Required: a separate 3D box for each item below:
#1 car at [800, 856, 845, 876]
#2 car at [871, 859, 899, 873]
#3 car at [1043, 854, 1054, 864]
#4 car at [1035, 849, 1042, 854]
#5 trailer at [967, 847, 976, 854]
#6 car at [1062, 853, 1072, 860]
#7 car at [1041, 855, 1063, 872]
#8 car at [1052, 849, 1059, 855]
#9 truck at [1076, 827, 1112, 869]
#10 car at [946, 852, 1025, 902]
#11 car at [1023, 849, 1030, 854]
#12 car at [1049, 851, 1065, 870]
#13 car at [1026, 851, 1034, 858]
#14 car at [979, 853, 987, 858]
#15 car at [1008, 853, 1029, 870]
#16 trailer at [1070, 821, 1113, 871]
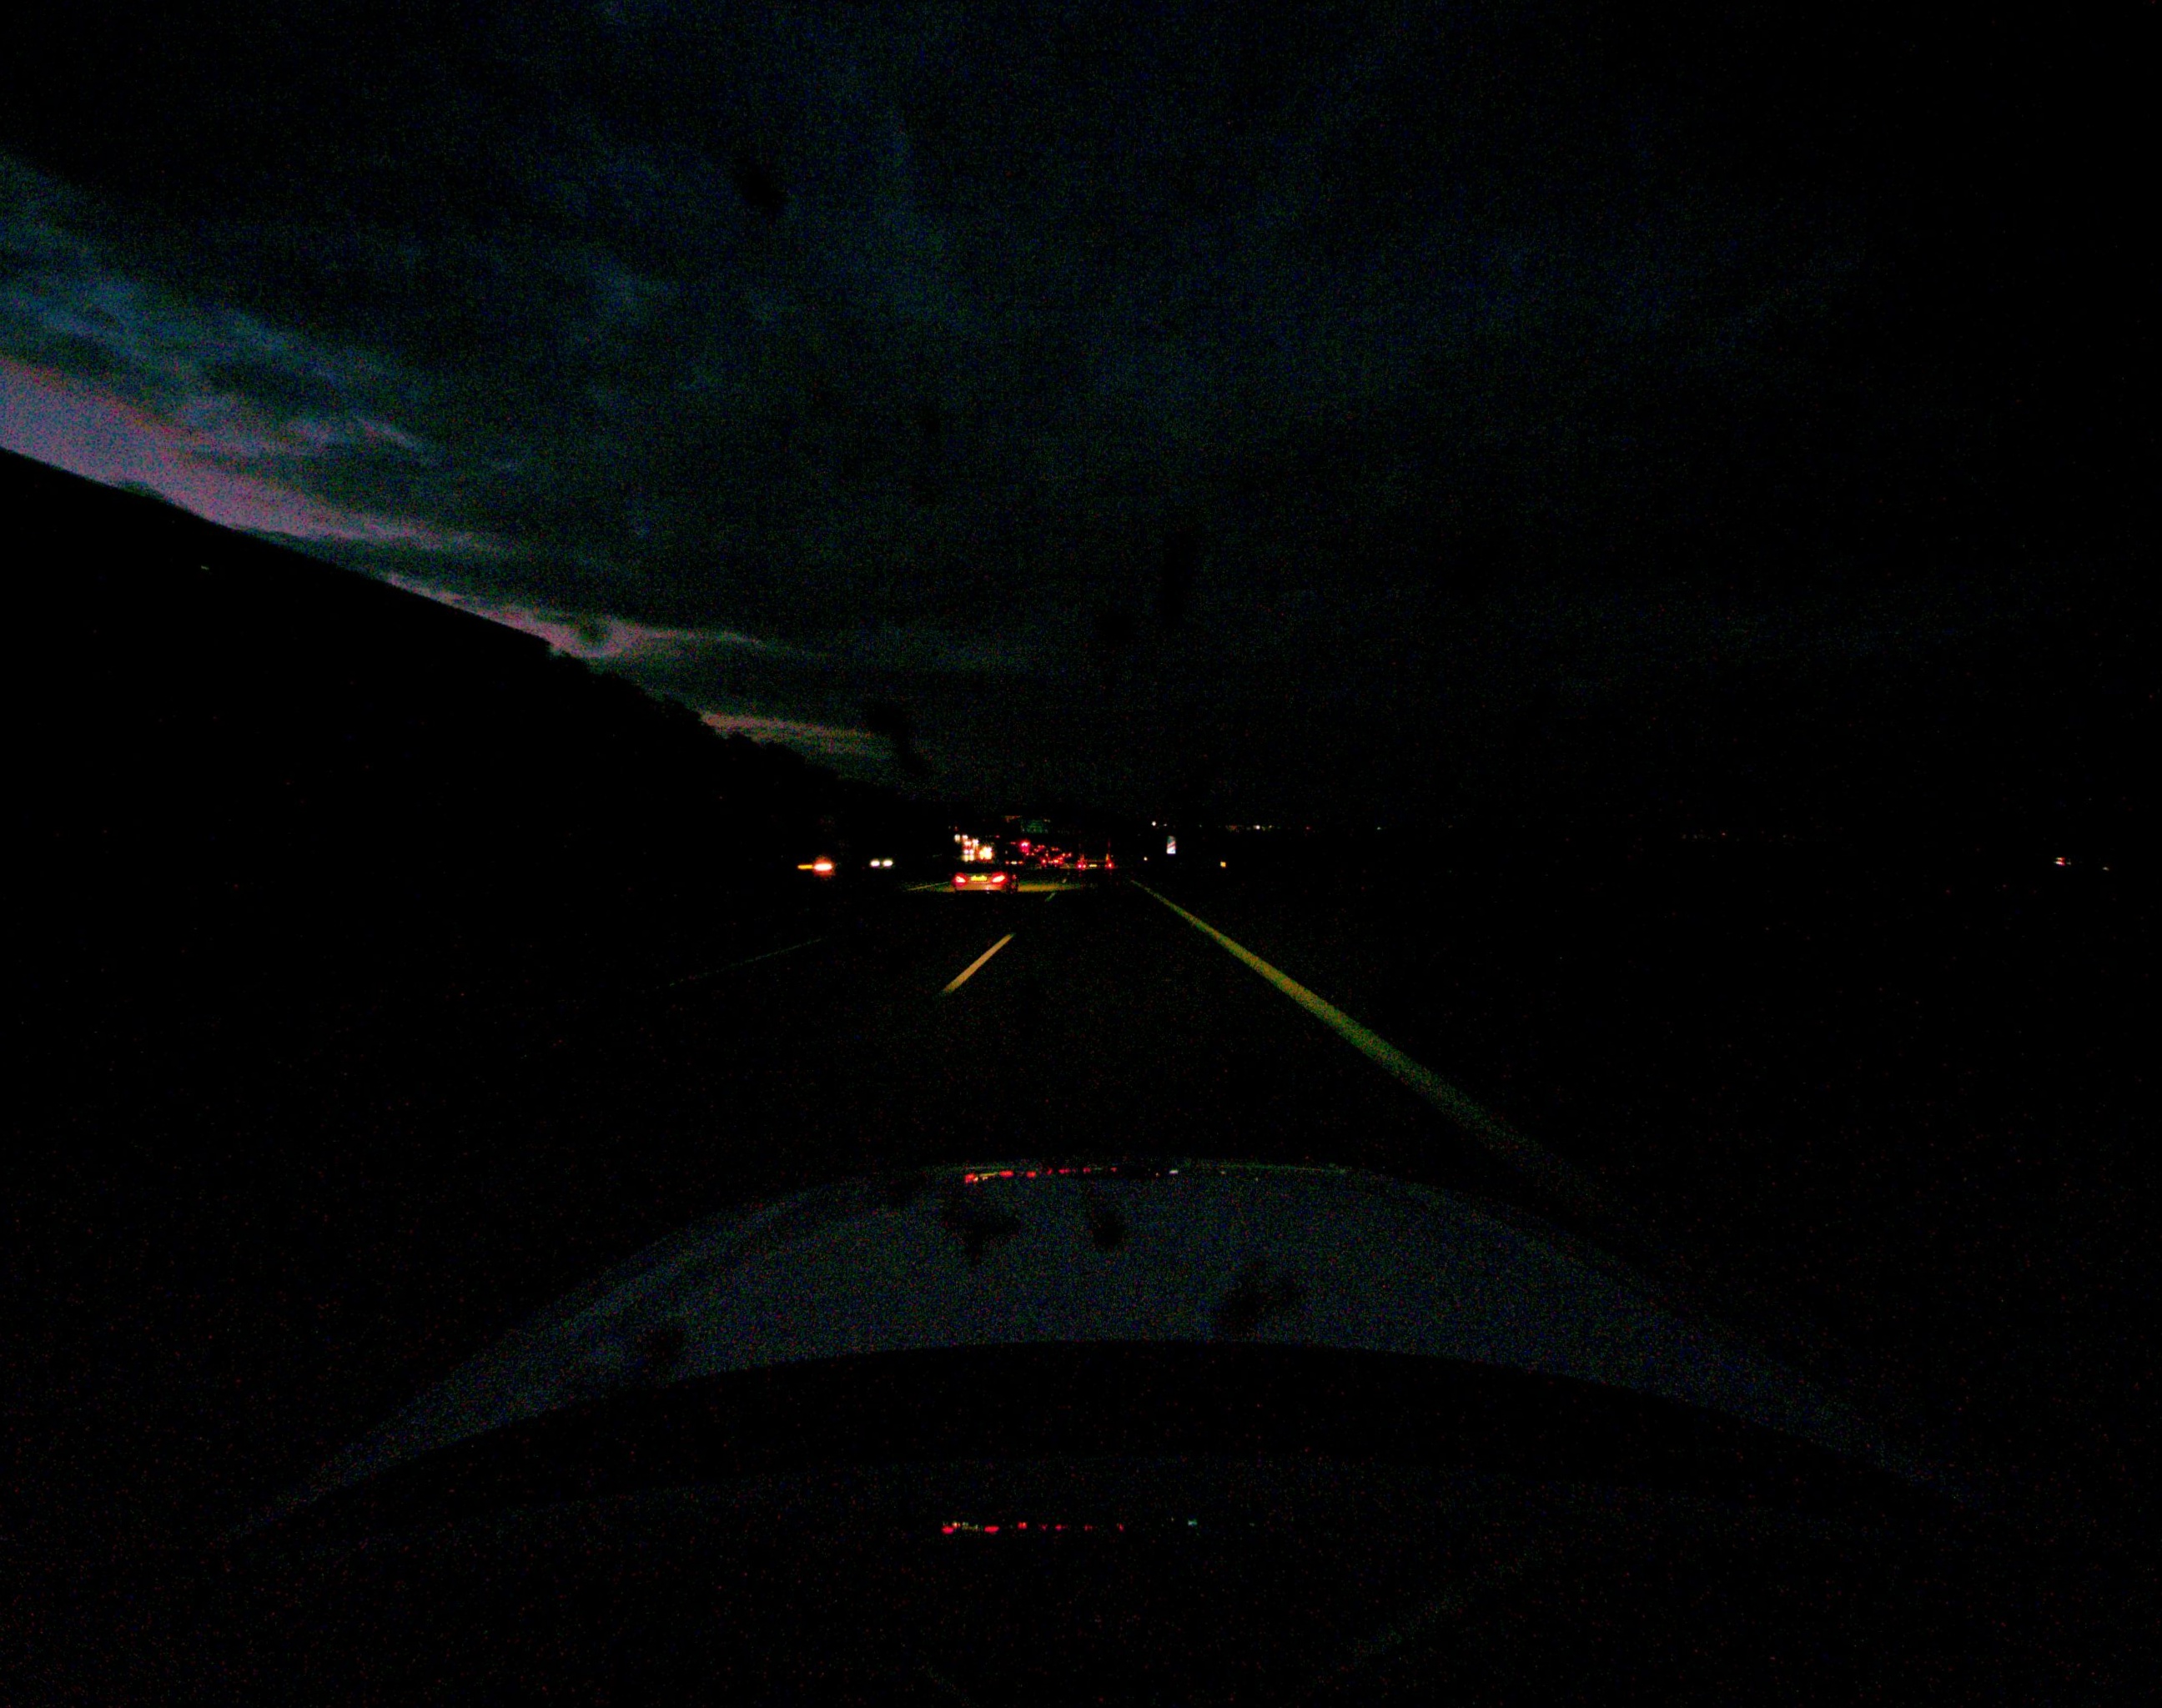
[{"bbox_3d":[-20.227,0.885,63.859,1.986,1.505,4.507,0,0,1],"label":"car"},{"bbox_3d":[-22.890,1.389,95.131,1.987,1.534,5.006,0,0,0],"label":"car"},{"bbox_3d":[-6.622,0.930,166.335,1.990,2.014,3.992,0,0,-5],"label":"car"},{"bbox_3d":[-13.117,-0.743,251.530,1.992,1.622,3.990,0,0,-7],"label":"car"},{"bbox_3d":[-31.223,-1.039,232.190,1.907,2.002,4.238,1,0,-1],"label":"trailer"},{"bbox_3d":[-3.101,0.572,175.241,1.990,1.534,3.994,0,0,-4],"label":"car"},{"bbox_3d":[-3.002,0.980,84.563,2.058,1.686,4.575,0,0,0],"label":"car"},{"bbox_3d":[-7.614,-0.603,244.810,1.991,1.978,3.992,0,0,-6],"label":"car"},{"bbox_3d":[1.371,-0.543,83.085,3.537,4.091,6.153,0,-1,1],"label":"truck"},{"bbox_3d":[-3.283,0.759,29.006,1.898,1.614,4.809,0,0,4],"label":"car"},{"bbox_3d":[-16.767,-0.643,250.475,1.990,1.468,3.993,0,0,-5],"label":"car"},{"bbox_3d":[-3.063,0.829,104.181,1.987,2.380,3.999,0,0,0],"label":"car"},{"bbox_3d":[-12.200,0.218,195.932,1.990,1.622,3.994,0,0,-4],"label":"car"},{"bbox_3d":[-26.509,0.310,220.559,1.684,1.354,4.895,0,0,-1],"label":"car"},{"bbox_3d":[-6.263,0.739,81.736,1.756,1.575,4.575,0,0,0],"label":"car"},{"bbox_3d":[1.118,-0.603,75.814,3.537,4.116,15.068,0,-1,2],"label":"trailer"}]
